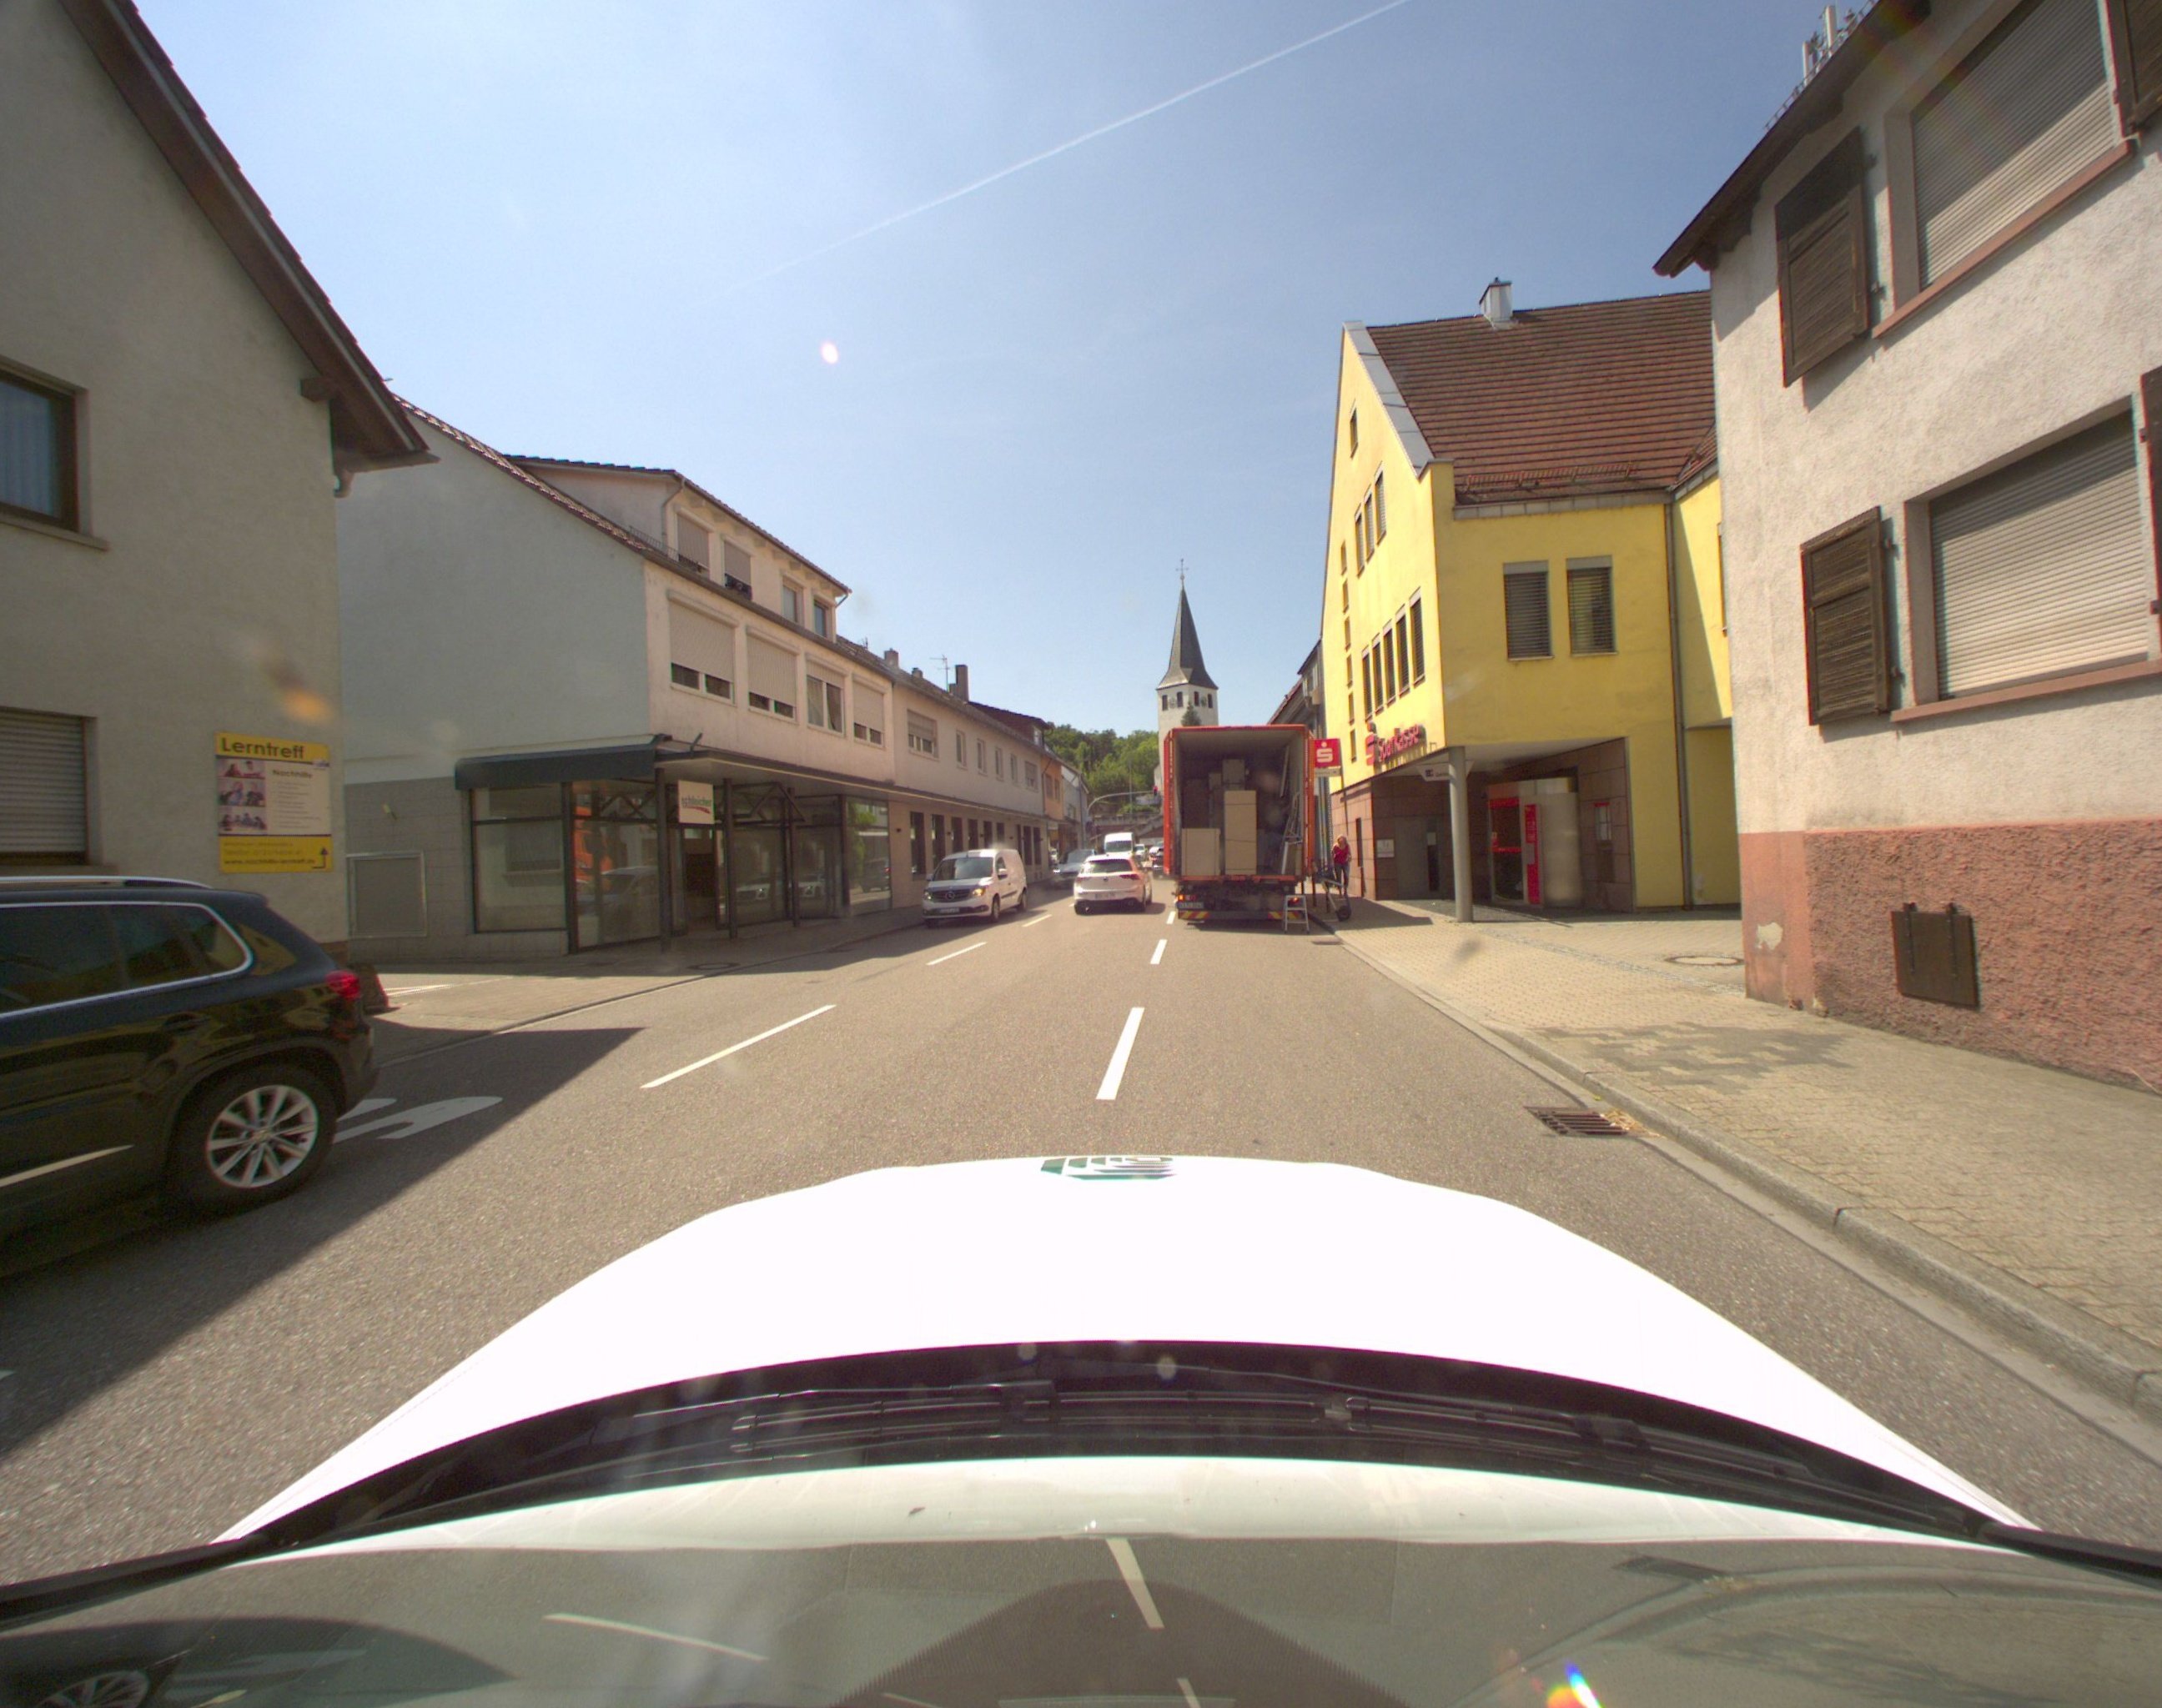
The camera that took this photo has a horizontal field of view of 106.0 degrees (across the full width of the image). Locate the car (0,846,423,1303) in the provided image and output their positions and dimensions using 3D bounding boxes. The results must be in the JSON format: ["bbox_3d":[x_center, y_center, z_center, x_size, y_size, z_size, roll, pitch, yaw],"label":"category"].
[{"bbox_3d":[-4.965,0.888,2.805,1.683,1.698,4.119,-4,1,6],"label":"car"}]

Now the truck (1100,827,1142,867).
[{"bbox_3d":[2.798,-0.430,55.627,2.105,2.474,5.750,-4,-1,9],"label":"truck"}]

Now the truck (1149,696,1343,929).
[{"bbox_3d":[3.557,-0.709,20.074,3.350,4.170,9.533,-4,-1,5],"label":"truck"}]

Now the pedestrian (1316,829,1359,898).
[{"bbox_3d":[6.783,0.247,21.582,0.766,1.742,0.871,-3,-1,1],"label":"pedestrian"}]

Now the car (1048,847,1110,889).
[{"bbox_3d":[-0.023,0.602,35.804,1.982,1.651,4.010,-4,-1,9],"label":"car"}]

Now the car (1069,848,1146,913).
[{"bbox_3d":[0.740,0.658,21.265,1.807,1.519,4.003,-1,-1,3],"label":"car"}]

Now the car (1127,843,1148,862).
[{"bbox_3d":[5.011,-0.129,71.809,1.753,1.498,4.005,-4,-1,5],"label":"car"}]

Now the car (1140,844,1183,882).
[{"bbox_3d":[3.773,0.437,38.764,1.807,1.629,4.003,-3,-1,3],"label":"car"}]

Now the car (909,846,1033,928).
[{"bbox_3d":[-2.657,0.745,21.005,1.791,1.780,4.717,-4,0,9],"label":"car"}]

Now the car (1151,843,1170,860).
[{"bbox_3d":[8.097,-0.222,83.224,1.740,1.618,4.005,-4,-1,5],"label":"car"}]
